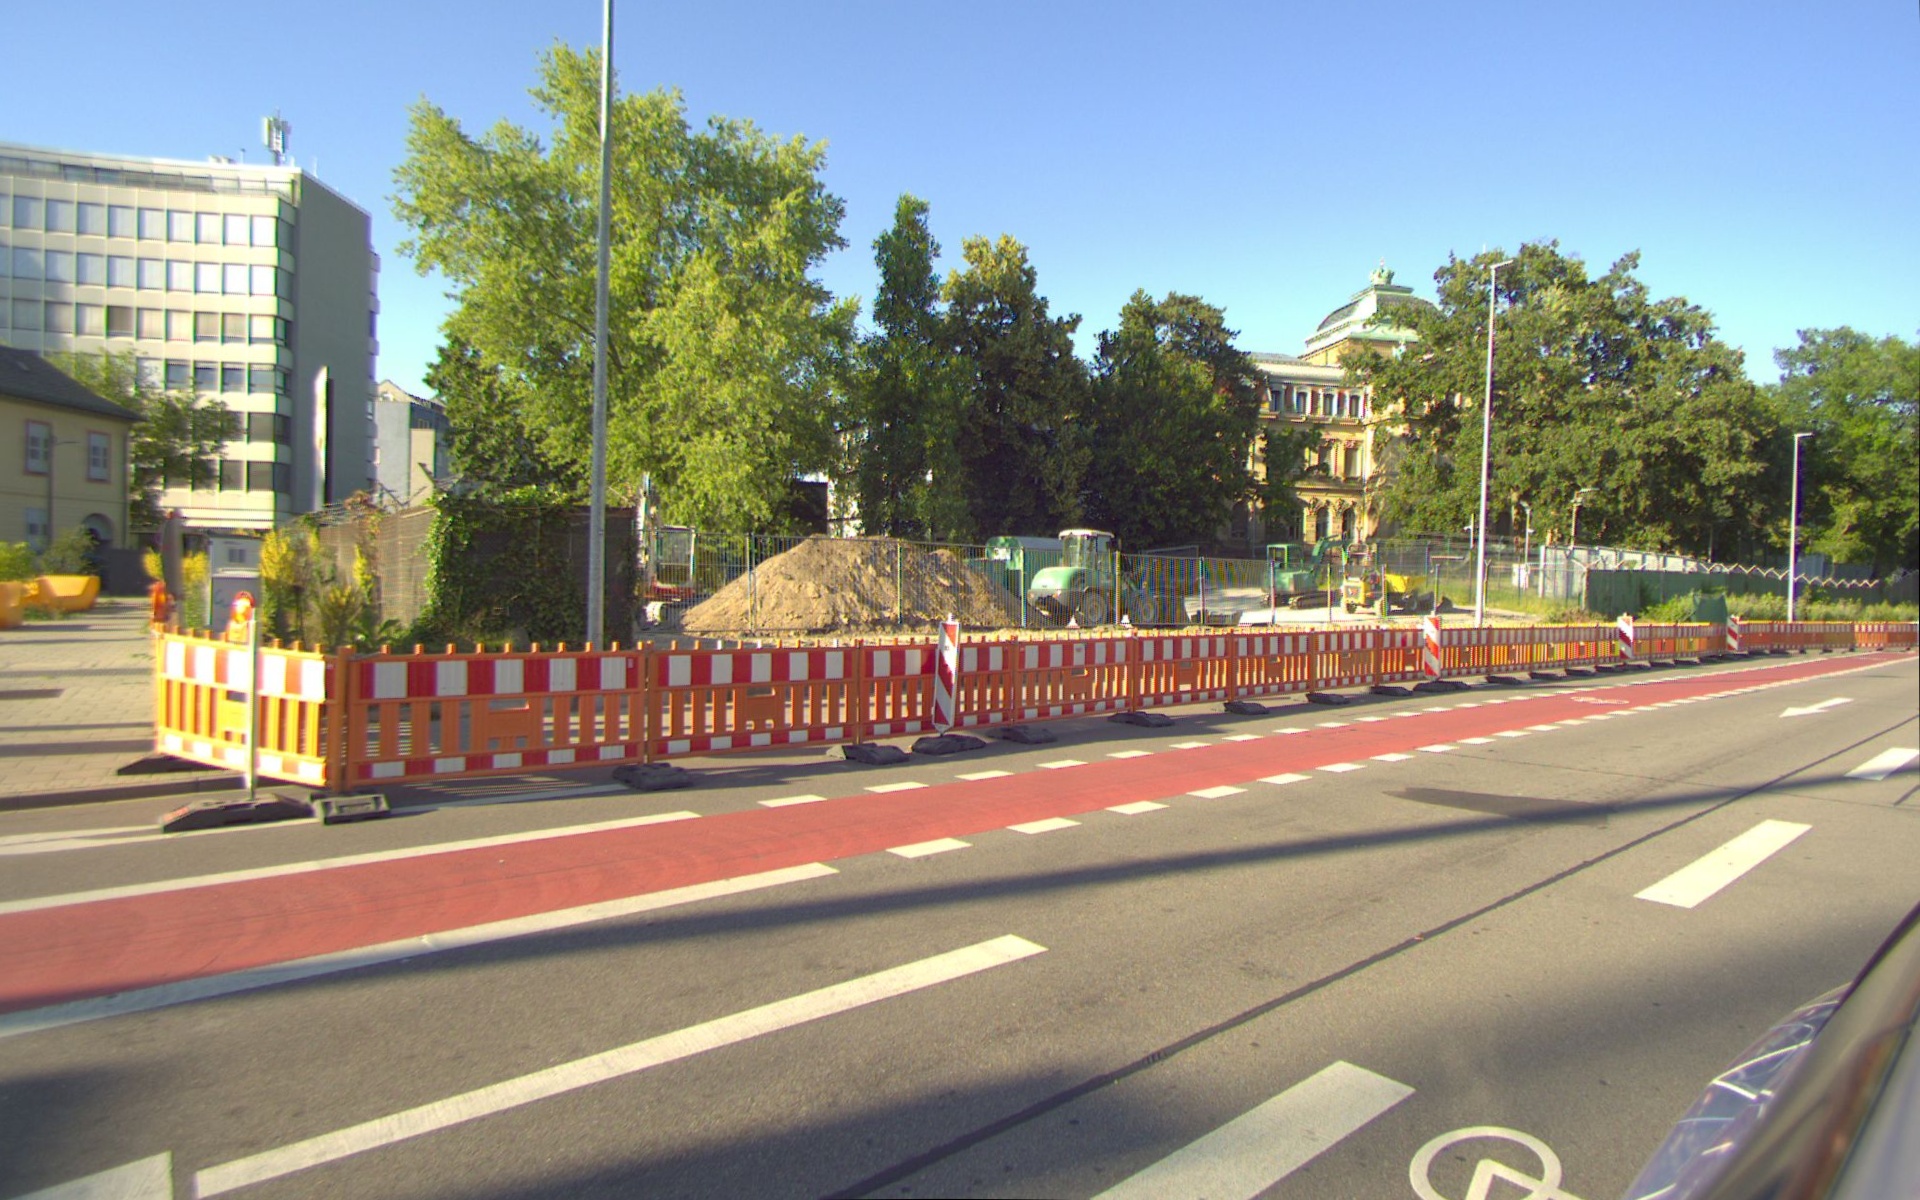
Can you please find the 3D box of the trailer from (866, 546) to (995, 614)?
[{"bbox_3d":[-1.218,-0.870,39.364,2.189,2.349,5.037,-6,7,-43],"label":"trailer"}]

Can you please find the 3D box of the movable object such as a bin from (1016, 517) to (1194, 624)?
[{"bbox_3d":[4.129,-0.781,28.358,4.855,2.737,2.280,0,1,-41],"label":"movable object such as a bin"}]

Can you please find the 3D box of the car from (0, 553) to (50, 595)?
[{"bbox_3d":[-37.830,-1.032,38.980,1.962,1.593,4.001,1,1,0],"label":"car"}]

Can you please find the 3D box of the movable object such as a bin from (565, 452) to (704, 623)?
[{"bbox_3d":[-7.812,-1.405,24.872,2.801,3.602,6.095,1,1,-15],"label":"movable object such as a bin"}]

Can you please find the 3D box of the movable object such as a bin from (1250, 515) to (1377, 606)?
[{"bbox_3d":[14.939,-1.586,42.644,5.395,3.602,2.283,1,1,-36],"label":"movable object such as a bin"}]

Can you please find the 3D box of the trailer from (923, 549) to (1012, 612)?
[{"bbox_3d":[0.308,-0.853,41.884,2.189,2.349,2.950,-7,7,-43],"label":"trailer"}]

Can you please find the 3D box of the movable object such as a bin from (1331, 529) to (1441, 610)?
[{"bbox_3d":[16.403,-1.151,38.936,3.922,2.940,2.001,1,1,-33],"label":"movable object such as a bin"}]

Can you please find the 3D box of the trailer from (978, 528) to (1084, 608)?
[{"bbox_3d":[3.134,-1.463,44.203,3.923,3.126,2.612,-7,7,-43],"label":"trailer"}]
